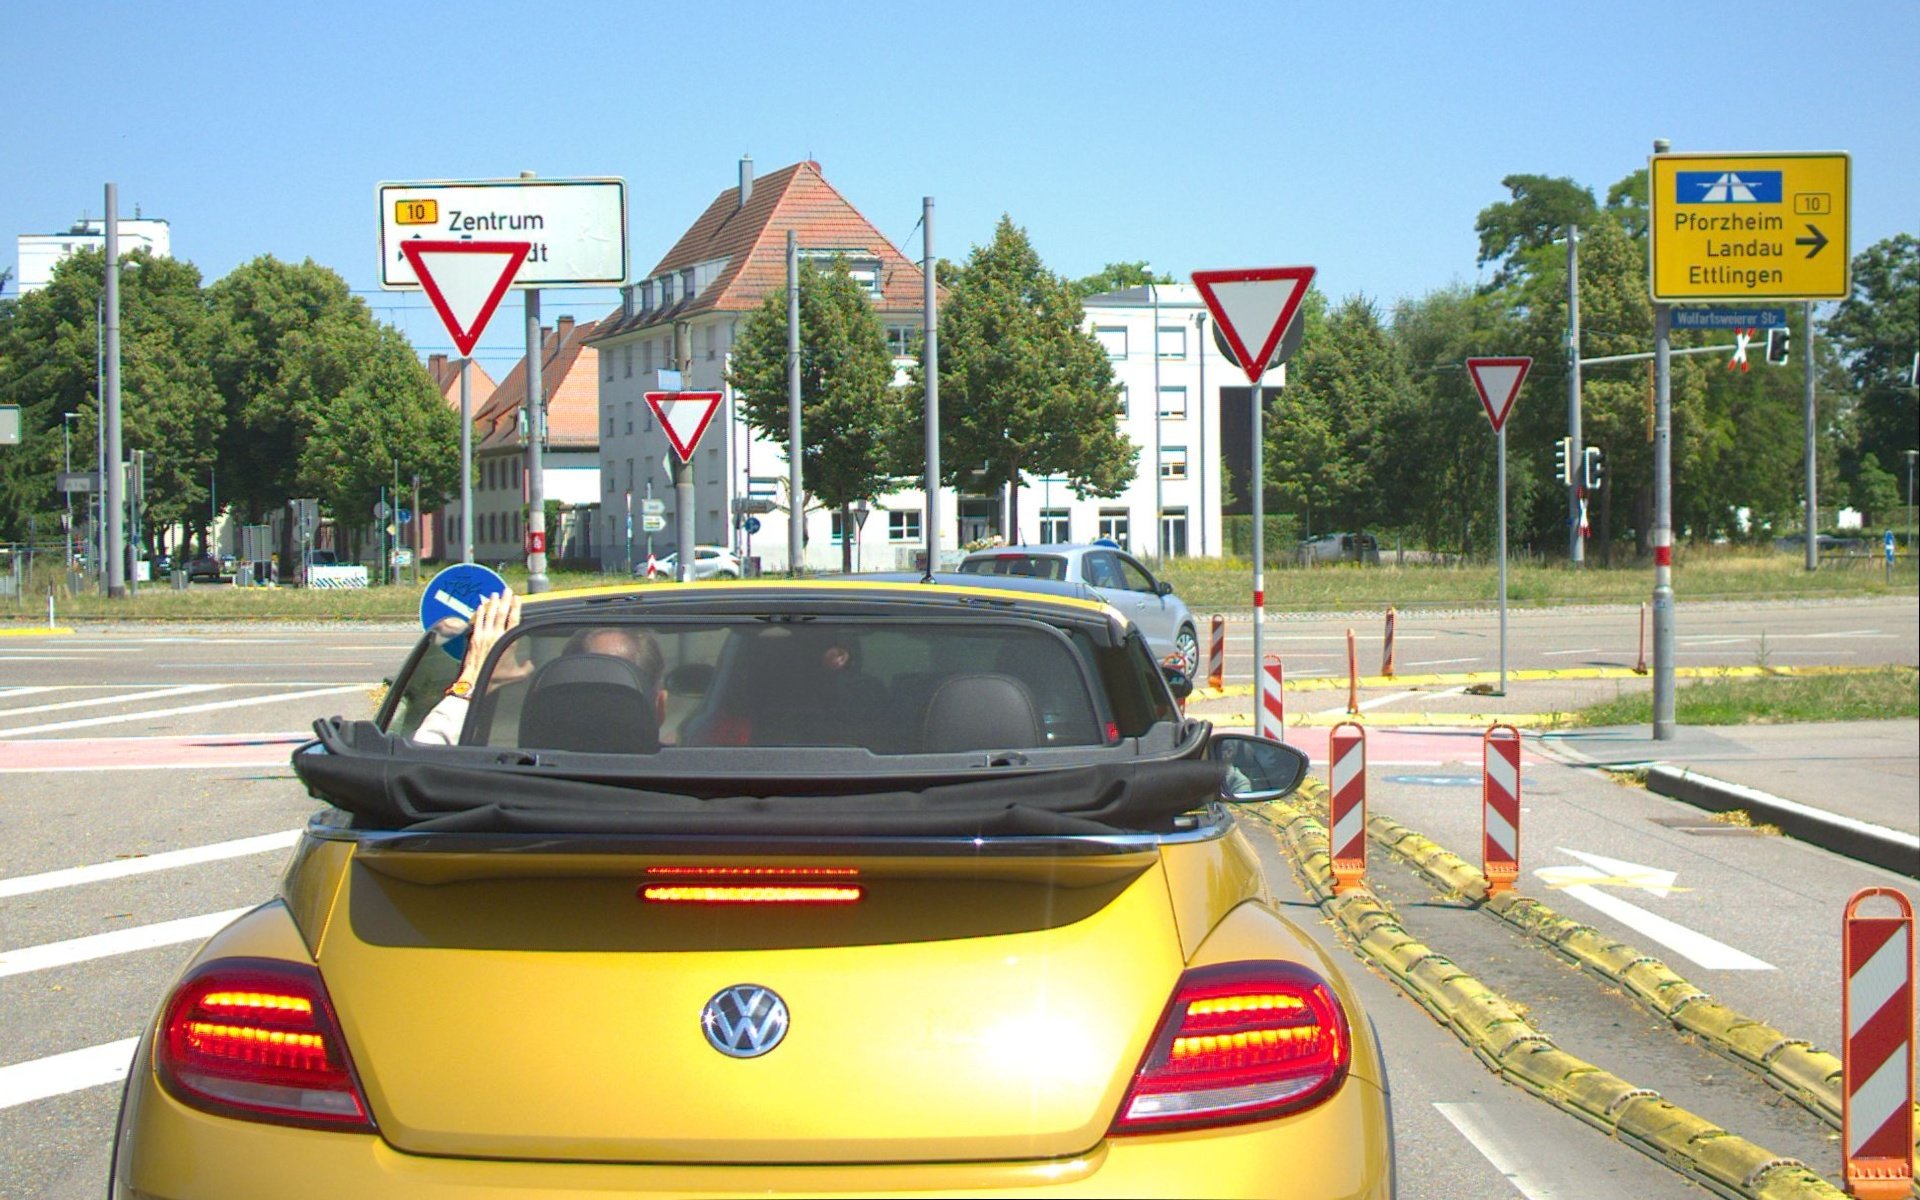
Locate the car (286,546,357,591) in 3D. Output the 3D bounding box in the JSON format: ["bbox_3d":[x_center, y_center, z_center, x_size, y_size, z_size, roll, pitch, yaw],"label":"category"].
[{"bbox_3d":[-30.134,-1.511,162.167,1.987,2.063,5.329,1,1,-25],"label":"car"}]

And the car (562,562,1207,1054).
[{"bbox_3d":[-0.242,0.579,12.091,1.851,1.361,4.258,-1,1,-1],"label":"car"}]

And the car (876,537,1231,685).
[{"bbox_3d":[1.023,0.089,34.901,2.068,1.377,4.252,1,1,25],"label":"car"}]

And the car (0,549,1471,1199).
[{"bbox_3d":[-0.308,0.668,6.221,1.765,1.476,4.258,1,1,-1],"label":"car"}]
